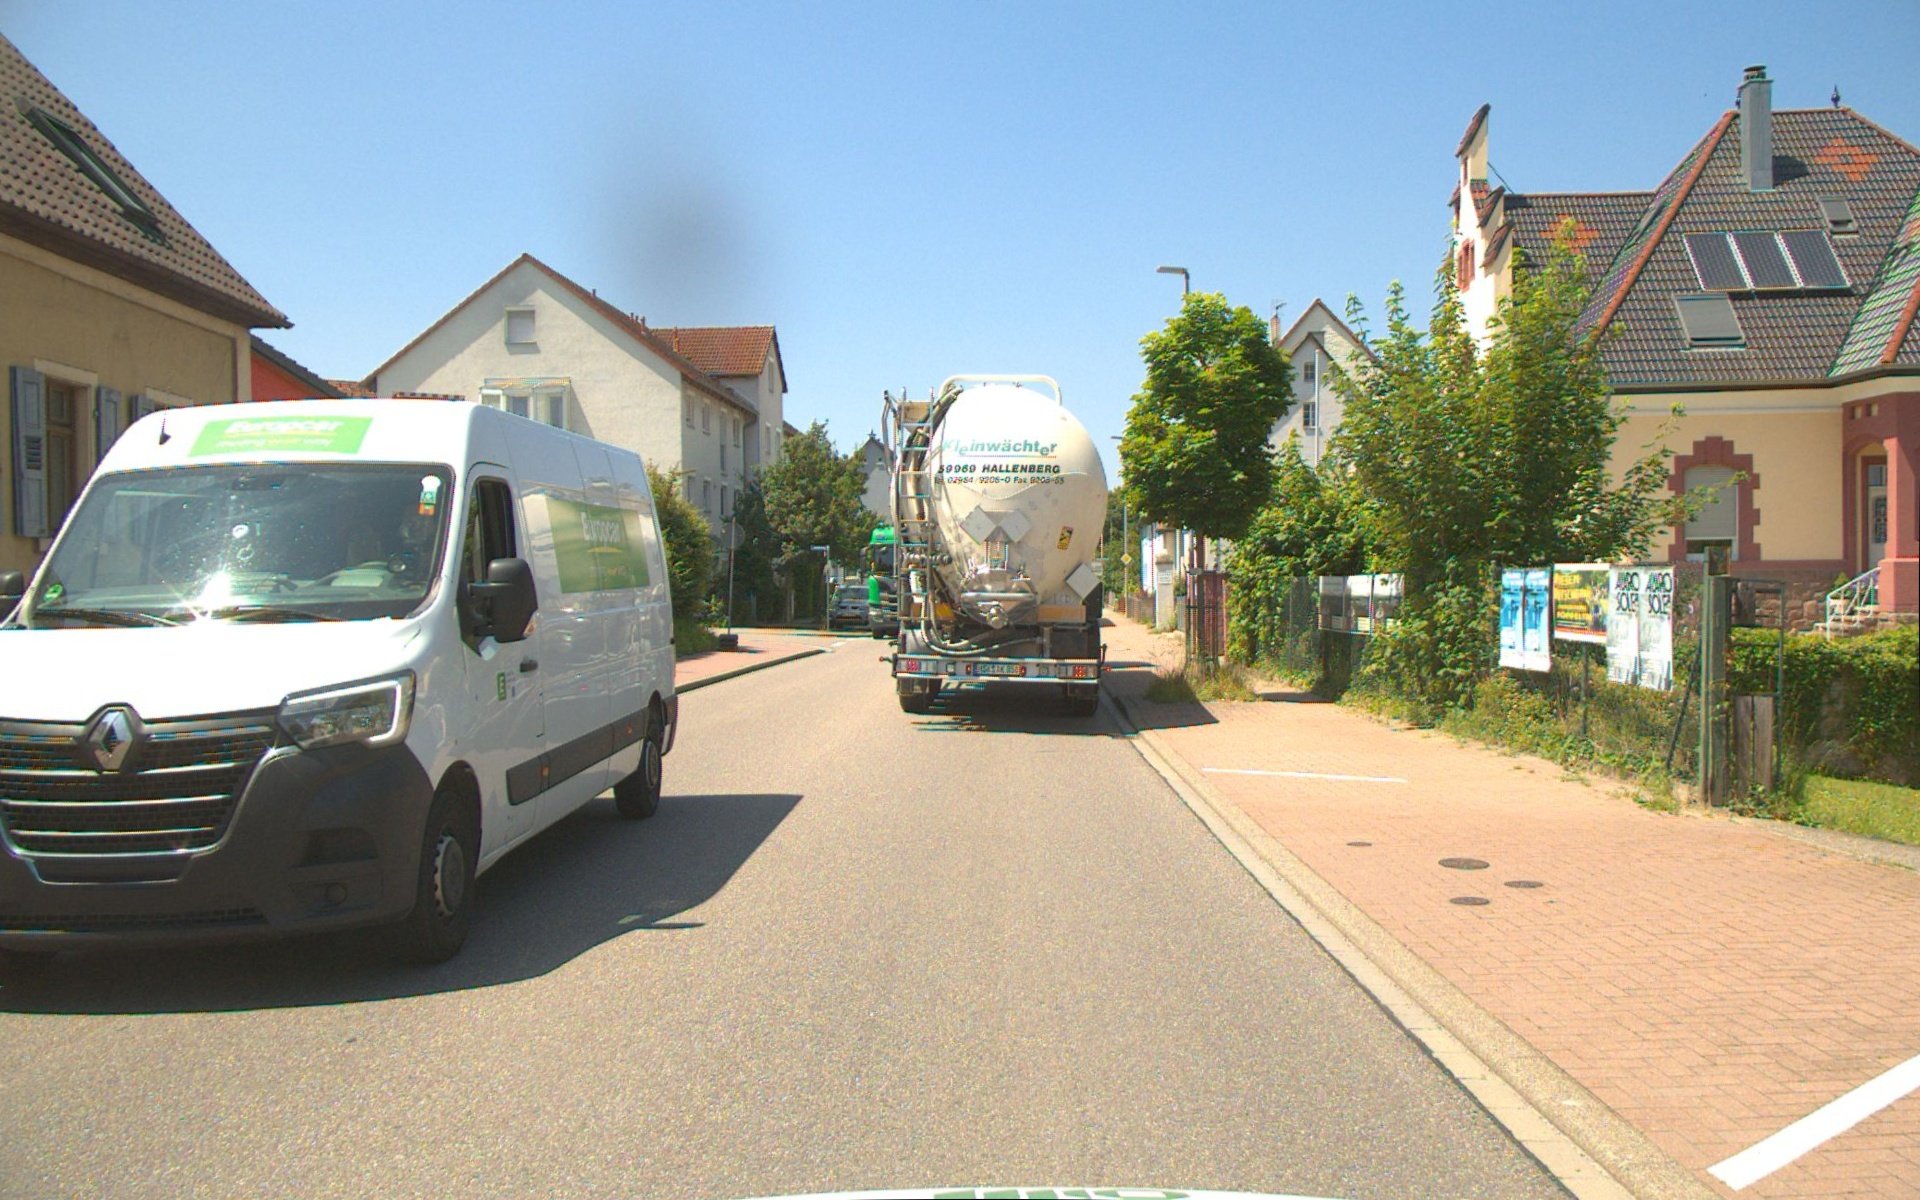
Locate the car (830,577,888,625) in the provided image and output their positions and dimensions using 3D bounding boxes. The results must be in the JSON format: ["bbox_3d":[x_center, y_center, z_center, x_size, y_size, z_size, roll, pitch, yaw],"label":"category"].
[{"bbox_3d":[-3.674,0.017,61.084,1.670,1.716,4.528,0,1,2],"label":"car"}]

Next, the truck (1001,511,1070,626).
[{"bbox_3d":[3.097,-1.265,68.610,2.586,4.298,12.097,-1,1,2],"label":"truck"}]

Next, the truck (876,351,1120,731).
[{"bbox_3d":[0.441,-0.694,22.728,2.587,4.086,9.562,1,1,0],"label":"truck"}]

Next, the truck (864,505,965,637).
[{"bbox_3d":[-1.318,-0.913,53.568,2.514,3.765,10.081,-2,1,2],"label":"truck"}]

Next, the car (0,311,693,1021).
[{"bbox_3d":[-2.991,0.217,8.966,1.988,2.504,6.068,-2,0,0],"label":"car"}]
